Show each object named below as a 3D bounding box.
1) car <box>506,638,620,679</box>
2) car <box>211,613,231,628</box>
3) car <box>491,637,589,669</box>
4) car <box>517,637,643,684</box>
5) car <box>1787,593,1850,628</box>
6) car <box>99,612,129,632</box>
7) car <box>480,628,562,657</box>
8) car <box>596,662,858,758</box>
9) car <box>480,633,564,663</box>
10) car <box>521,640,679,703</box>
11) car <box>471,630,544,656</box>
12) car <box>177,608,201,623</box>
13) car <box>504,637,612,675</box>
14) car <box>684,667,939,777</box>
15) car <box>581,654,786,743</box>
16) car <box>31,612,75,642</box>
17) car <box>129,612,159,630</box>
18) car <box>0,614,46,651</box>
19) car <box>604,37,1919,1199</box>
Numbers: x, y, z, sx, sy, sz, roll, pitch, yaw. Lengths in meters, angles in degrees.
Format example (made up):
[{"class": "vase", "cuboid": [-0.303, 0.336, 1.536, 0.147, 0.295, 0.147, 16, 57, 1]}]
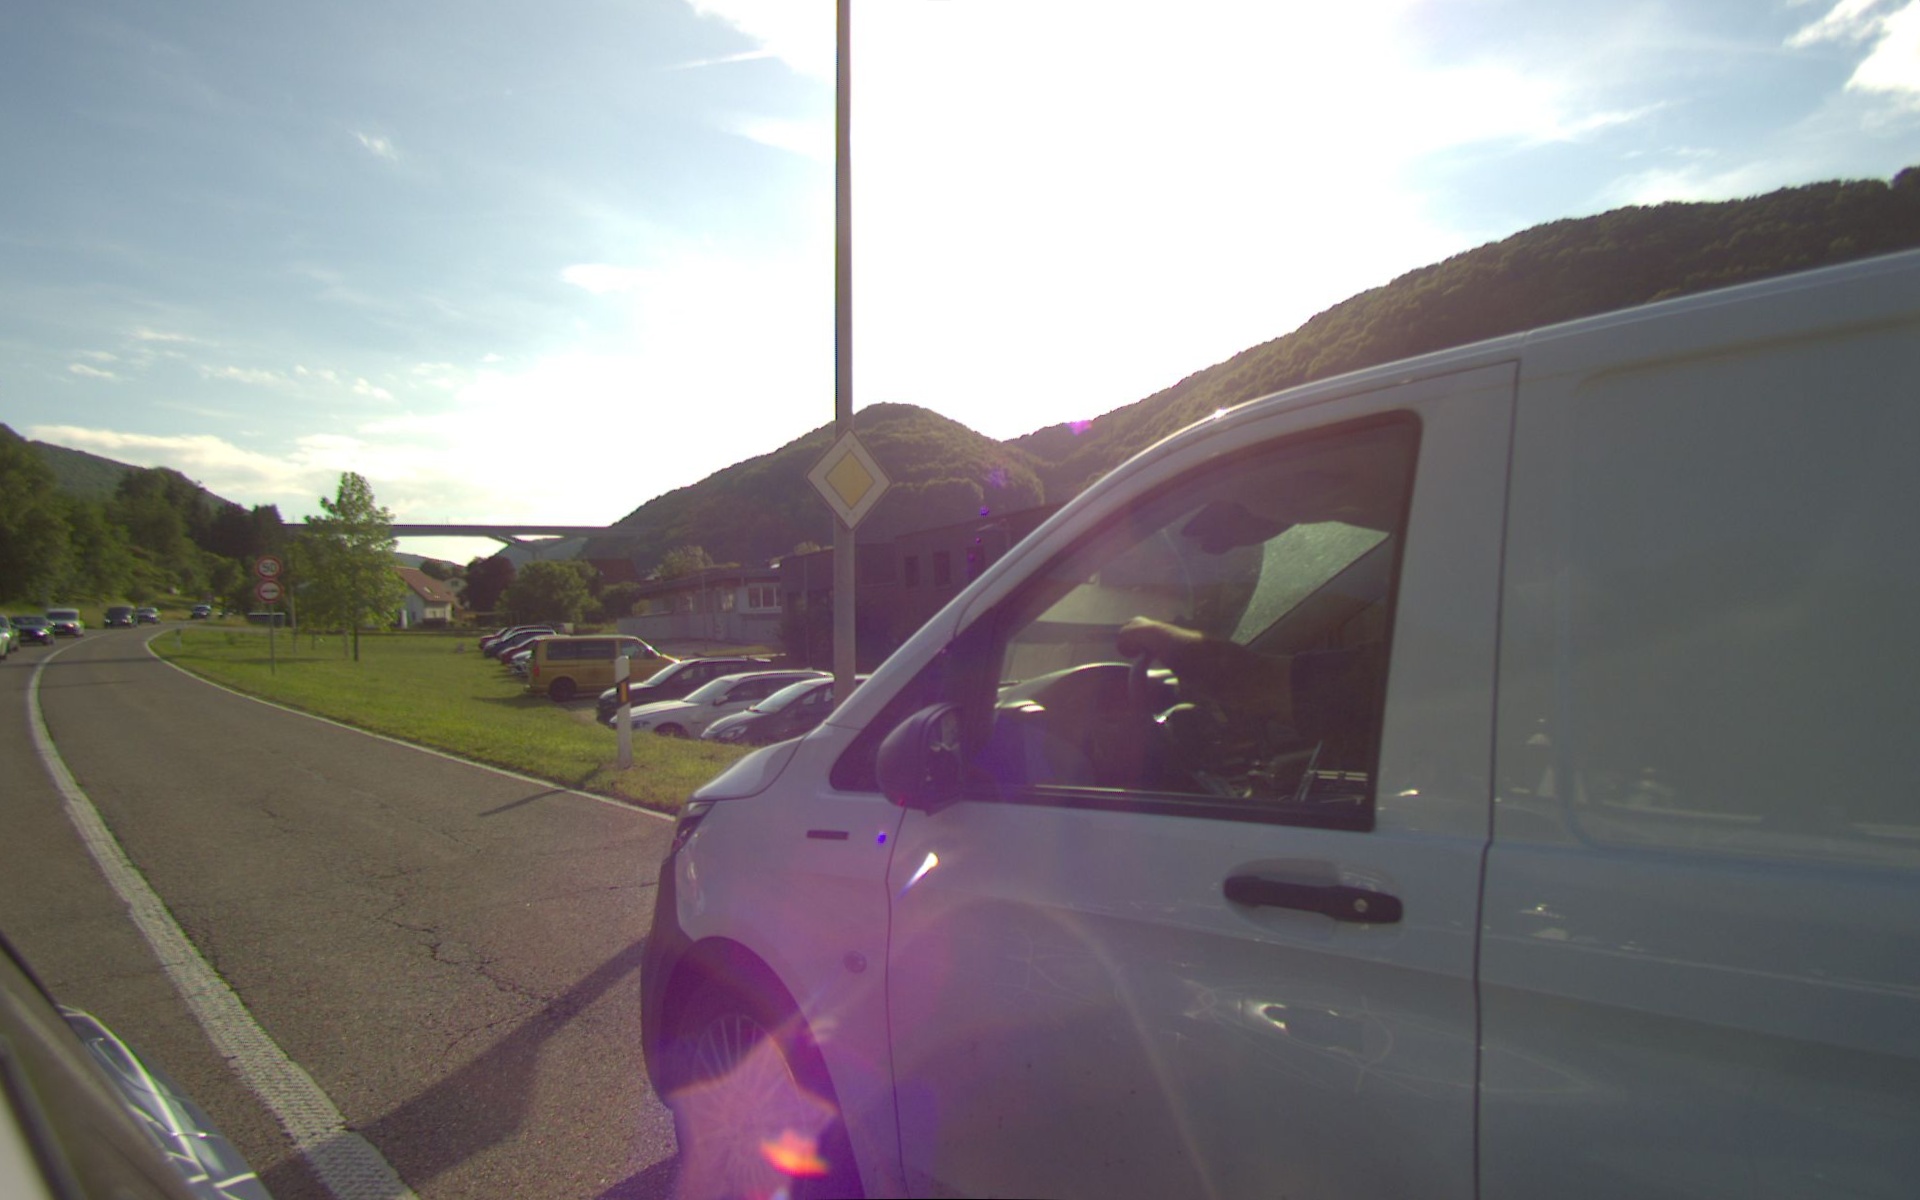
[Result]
[{"class": "car", "cuboid": [-16.849, 2.455, 42.980, 4.370, 1.599, 2.006, 1, -2, -26]}, {"class": "car", "cuboid": [-104.094, 2.860, 142.552, 1.880, 1.918, 4.012, 0, 0, -30]}, {"class": "car", "cuboid": [-20.894, 2.616, 50.371, 4.369, 1.463, 2.006, 0, -2, -26]}, {"class": "car", "cuboid": [-15.012, 2.363, 39.985, 4.476, 1.714, 2.006, 1, -2, -26]}, {"class": "car", "cuboid": [39.510, 0.470, 46.659, 1.997, 1.525, 3.949, -2, -1, 38]}, {"class": "car", "cuboid": [-72.579, 1.921, 86.849, 1.652, 1.659, 3.354, 0, -1, -34]}, {"class": "car", "cuboid": [-27.659, 2.643, 63.727, 4.594, 1.776, 2.006, 1, -2, -28]}, {"class": "car", "cuboid": [-4.459, 2.023, 19.547, 4.575, 1.508, 1.918, 1, -2, -31]}, {"class": "car", "cuboid": [-25.689, 2.768, 59.321, 4.370, 1.595, 2.006, -1, -1, -28]}, {"class": "car", "cuboid": [-11.507, 2.220, 32.380, 4.582, 1.827, 2.006, 1, -2, -26]}, {"class": "car", "cuboid": [-30.486, 2.875, 68.253, 4.370, 1.733, 2.006, 1, -2, -28]}, {"class": "car", "cuboid": [-98.907, 1.957, 129.872, 1.880, 1.918, 4.012, 0, 0, -30]}, {"class": "car", "cuboid": [-18.284, 2.502, 46.046, 4.370, 1.595, 2.006, 1, -2, -28]}, {"class": "car", "cuboid": [-2.535, 2.002, 17.353, 3.931, 1.546, 1.839, 1, -2, -27]}, {"class": "car", "cuboid": [-6.417, 2.219, 23.580, 4.224, 1.650, 1.918, -1, -1, -31]}, {"class": "car", "cuboid": [-55.244, 1.651, 61.692, 1.771, 1.749, 4.291, 0, -1, -39]}, {"class": "car", "cuboid": [-82.358, 2.106, 102.173, 1.966, 1.730, 4.011, 0, -1, -33]}, {"class": "car", "cuboid": [-44.854, 1.565, 48.089, 1.883, 1.698, 4.007, 0, -2, -38]}, {"class": "car", "cuboid": [1.799, 0.521, 1.132, 5.253, 1.918, 1.971, -2, -3, 43]}]
